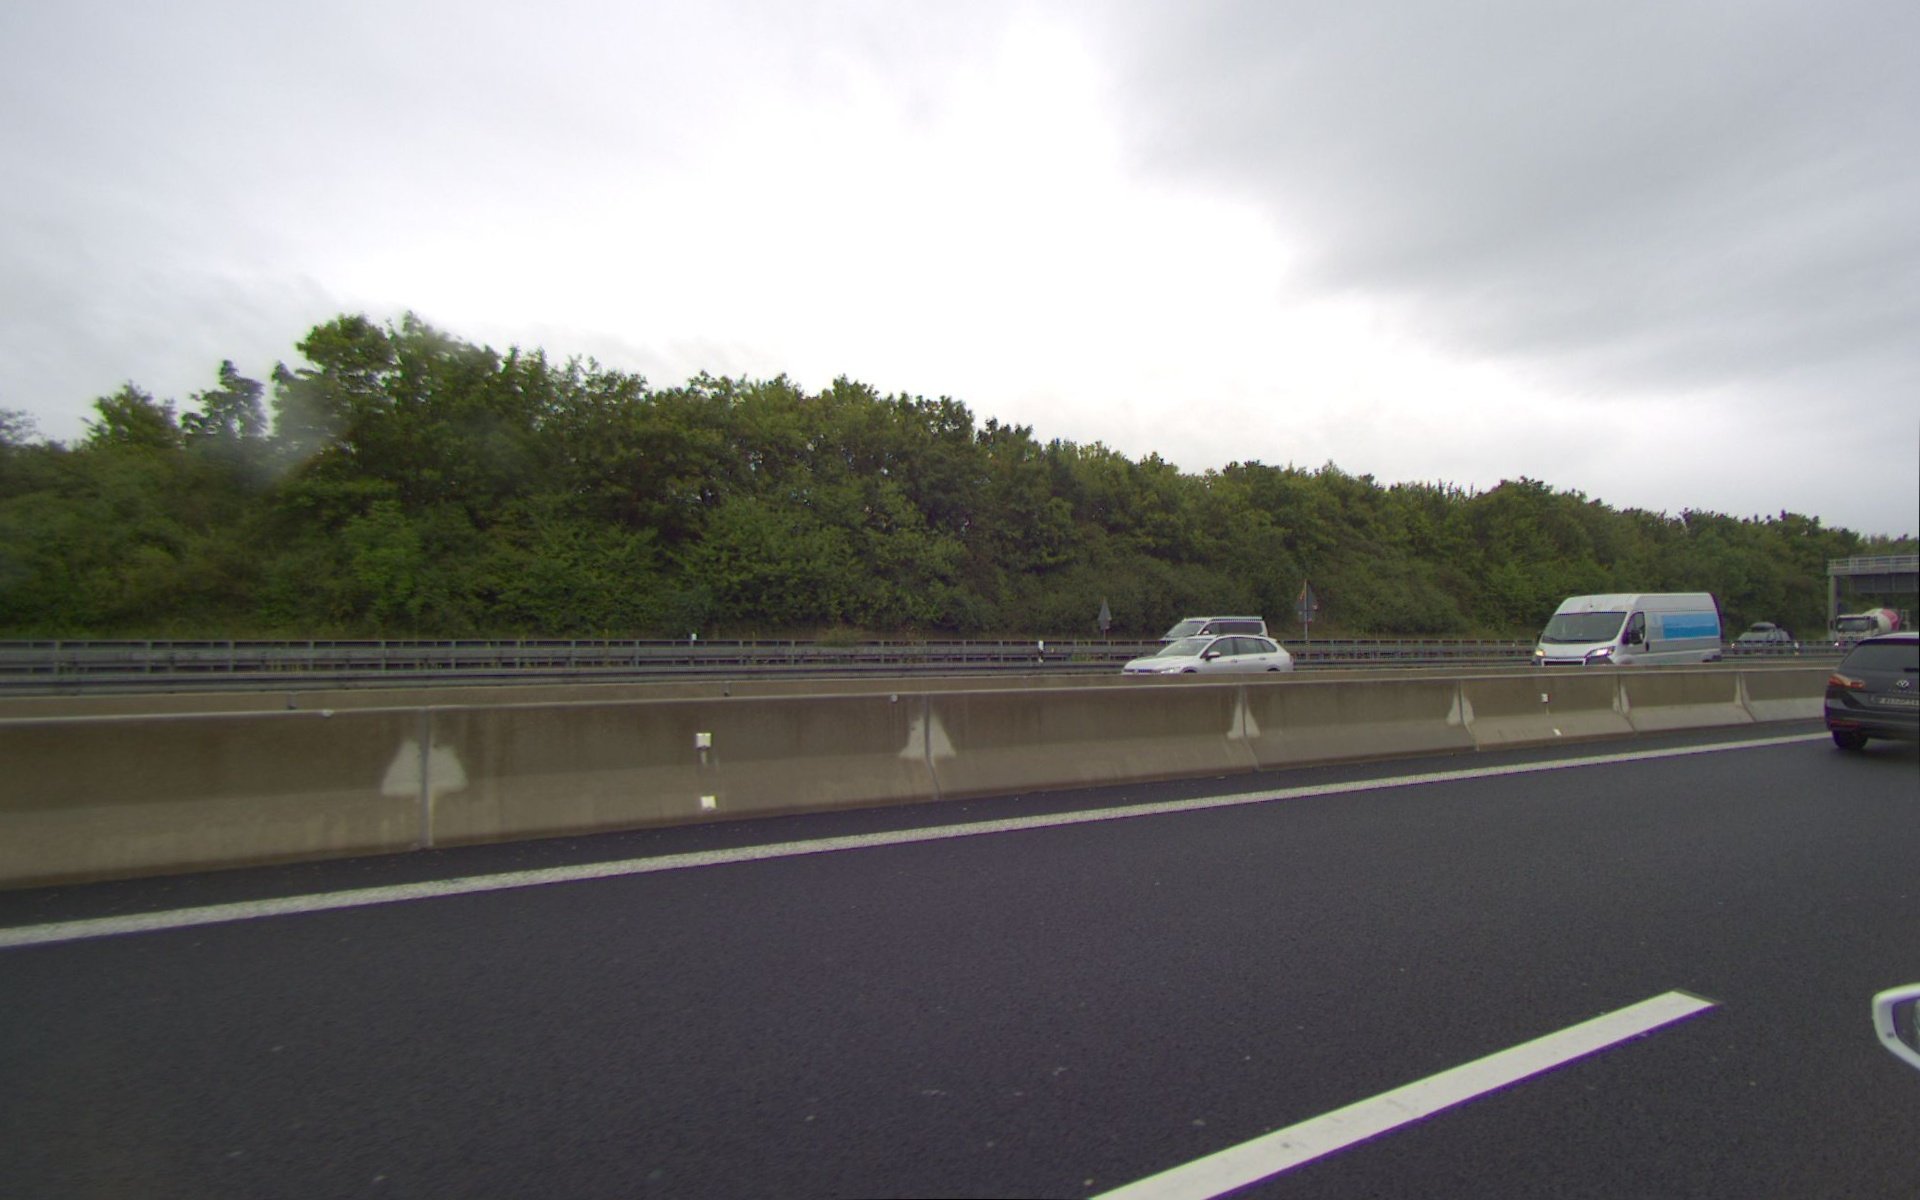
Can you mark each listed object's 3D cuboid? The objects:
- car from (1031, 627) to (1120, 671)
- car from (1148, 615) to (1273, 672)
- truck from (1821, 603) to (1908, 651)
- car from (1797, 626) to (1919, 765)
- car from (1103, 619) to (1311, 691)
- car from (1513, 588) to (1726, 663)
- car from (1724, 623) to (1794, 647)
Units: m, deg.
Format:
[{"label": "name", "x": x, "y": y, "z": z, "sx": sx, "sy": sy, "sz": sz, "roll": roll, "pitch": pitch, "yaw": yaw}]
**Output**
[{"label": "car", "x": 5.546, "y": 2.330, "z": 48.117, "sx": 3.952, "sy": 2.040, "sz": 1.742, "roll": 1, "pitch": -1, "yaw": -30}, {"label": "car", "x": 9.669, "y": 1.642, "z": 38.697, "sx": 4.663, "sy": 2.040, "sz": 1.983, "roll": 2, "pitch": 0, "yaw": -32}, {"label": "truck", "x": 73.195, "y": 2.246, "z": 81.220, "sx": 9.450, "sy": 3.709, "sz": 2.671, "roll": 1, "pitch": -1, "yaw": -32}, {"label": "car", "x": 12.402, "y": 1.107, "z": 12.315, "sx": 4.746, "sy": 1.478, "sz": 1.779, "roll": 1, "pitch": 0, "yaw": -30}, {"label": "car", "x": 5.758, "y": 1.224, "z": 23.267, "sx": 4.626, "sy": 1.454, "sz": 1.983, "roll": 1, "pitch": 0, "yaw": -31}, {"label": "car", "x": 16.779, "y": 0.664, "z": 25.460, "sx": 5.841, "sy": 1.715, "sz": 2.345, "roll": 1, "pitch": -1, "yaw": -32}, {"label": "car", "x": 50.794, "y": 2.210, "z": 63.856, "sx": 4.621, "sy": 1.425, "sz": 1.984, "roll": 1, "pitch": -1, "yaw": -30}]
